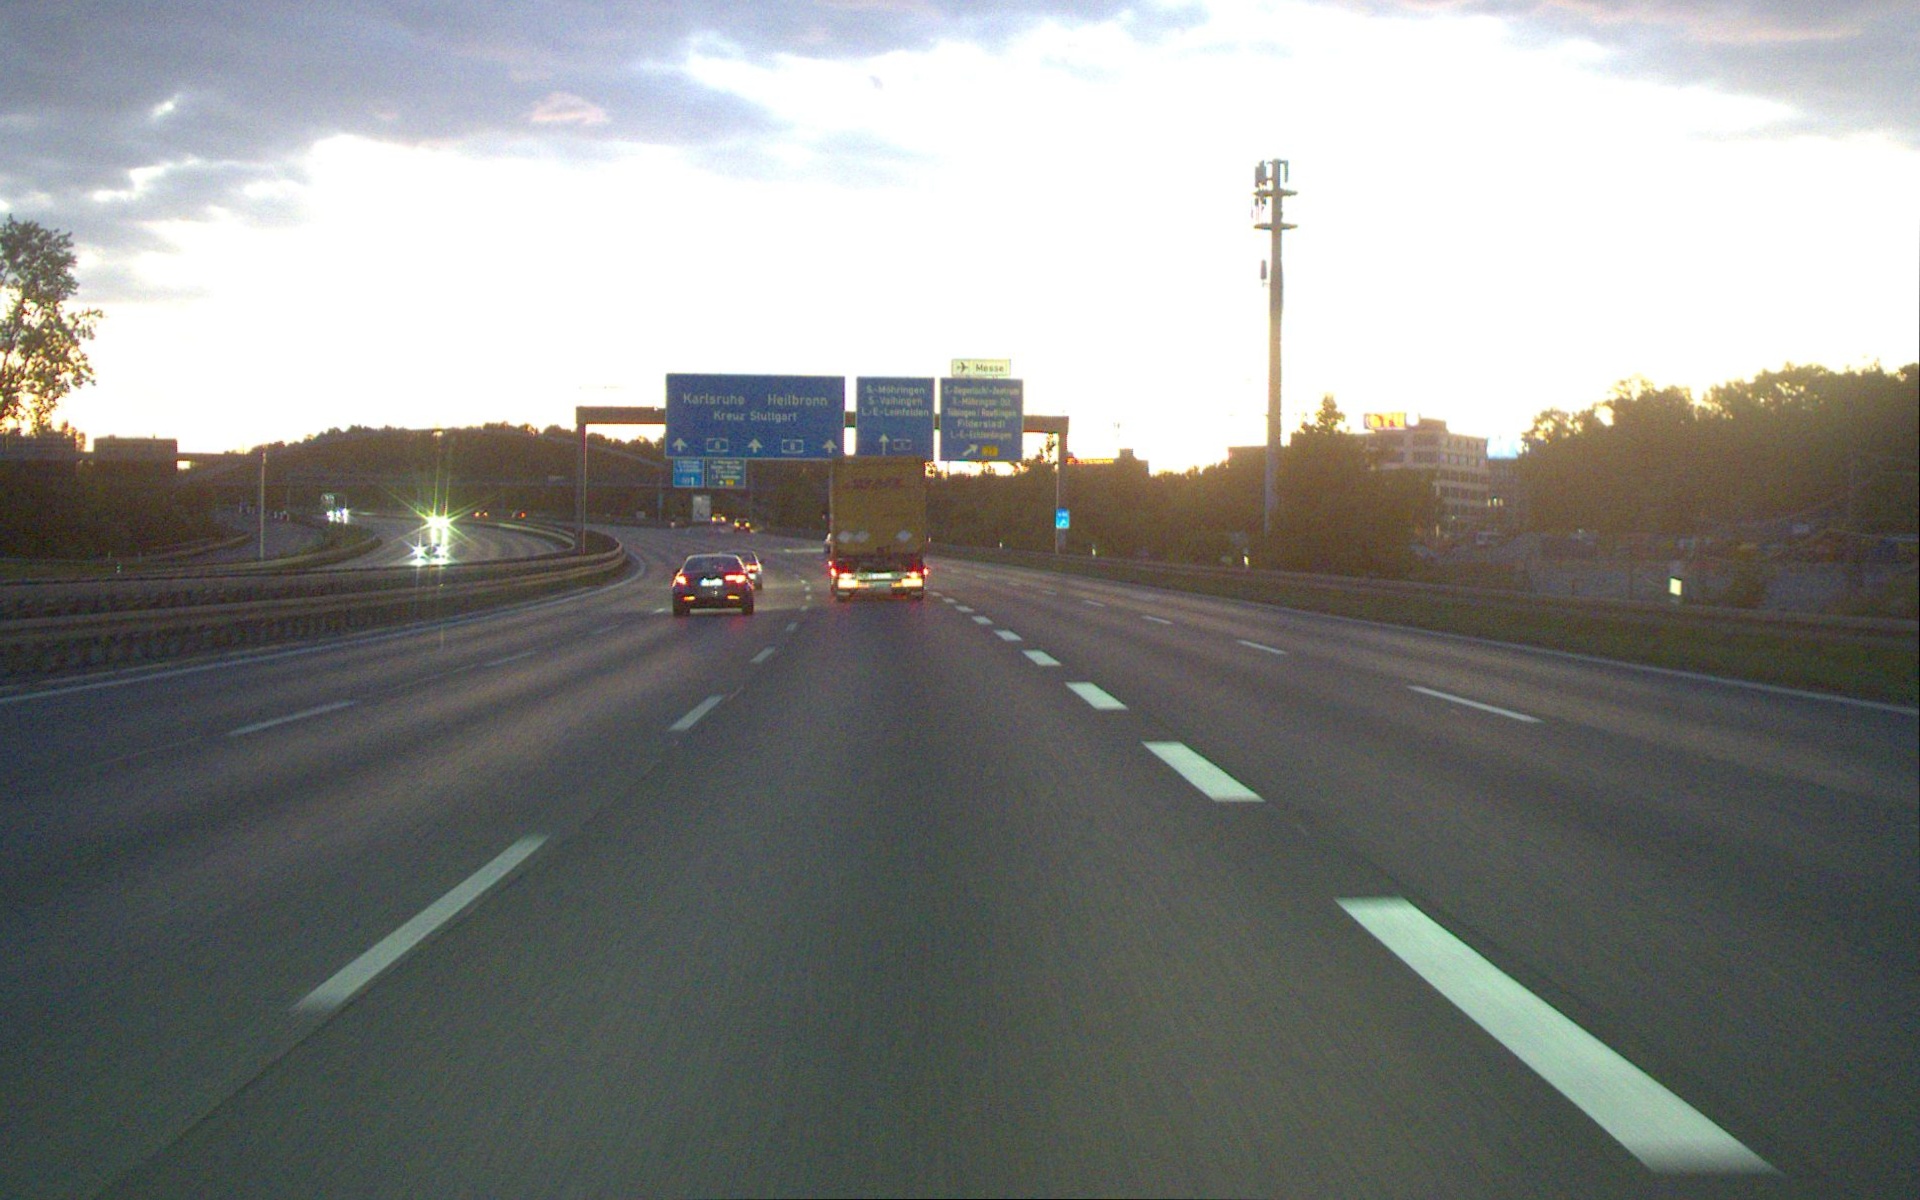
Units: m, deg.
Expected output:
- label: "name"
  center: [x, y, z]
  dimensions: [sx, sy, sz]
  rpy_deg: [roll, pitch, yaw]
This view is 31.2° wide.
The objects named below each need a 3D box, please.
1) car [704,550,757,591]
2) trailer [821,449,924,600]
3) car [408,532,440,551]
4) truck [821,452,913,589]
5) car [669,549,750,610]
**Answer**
- label: "car"
  center: [-8.143, -1.028, 122.368]
  dimensions: [1.689, 1.396, 3.409]
  rpy_deg: [-2, 0, -1]
- label: "trailer"
  center: [-2.561, -2.207, 98.278]
  dimensions: [2.721, 4.057, 8.832]
  rpy_deg: [-1, 2, -2]
- label: "car"
  center: [-39.614, -4.358, 254.315]
  dimensions: [1.993, 1.399, 4.330]
  rpy_deg: [0, 1, -4]
- label: "truck"
  center: [-2.988, -2.541, 107.947]
  dimensions: [2.690, 4.057, 10.522]
  rpy_deg: [-1, 2, -2]
- label: "car"
  center: [-5.934, -0.489, 81.231]
  dimensions: [1.689, 1.396, 3.409]
  rpy_deg: [-1, 1, -7]
